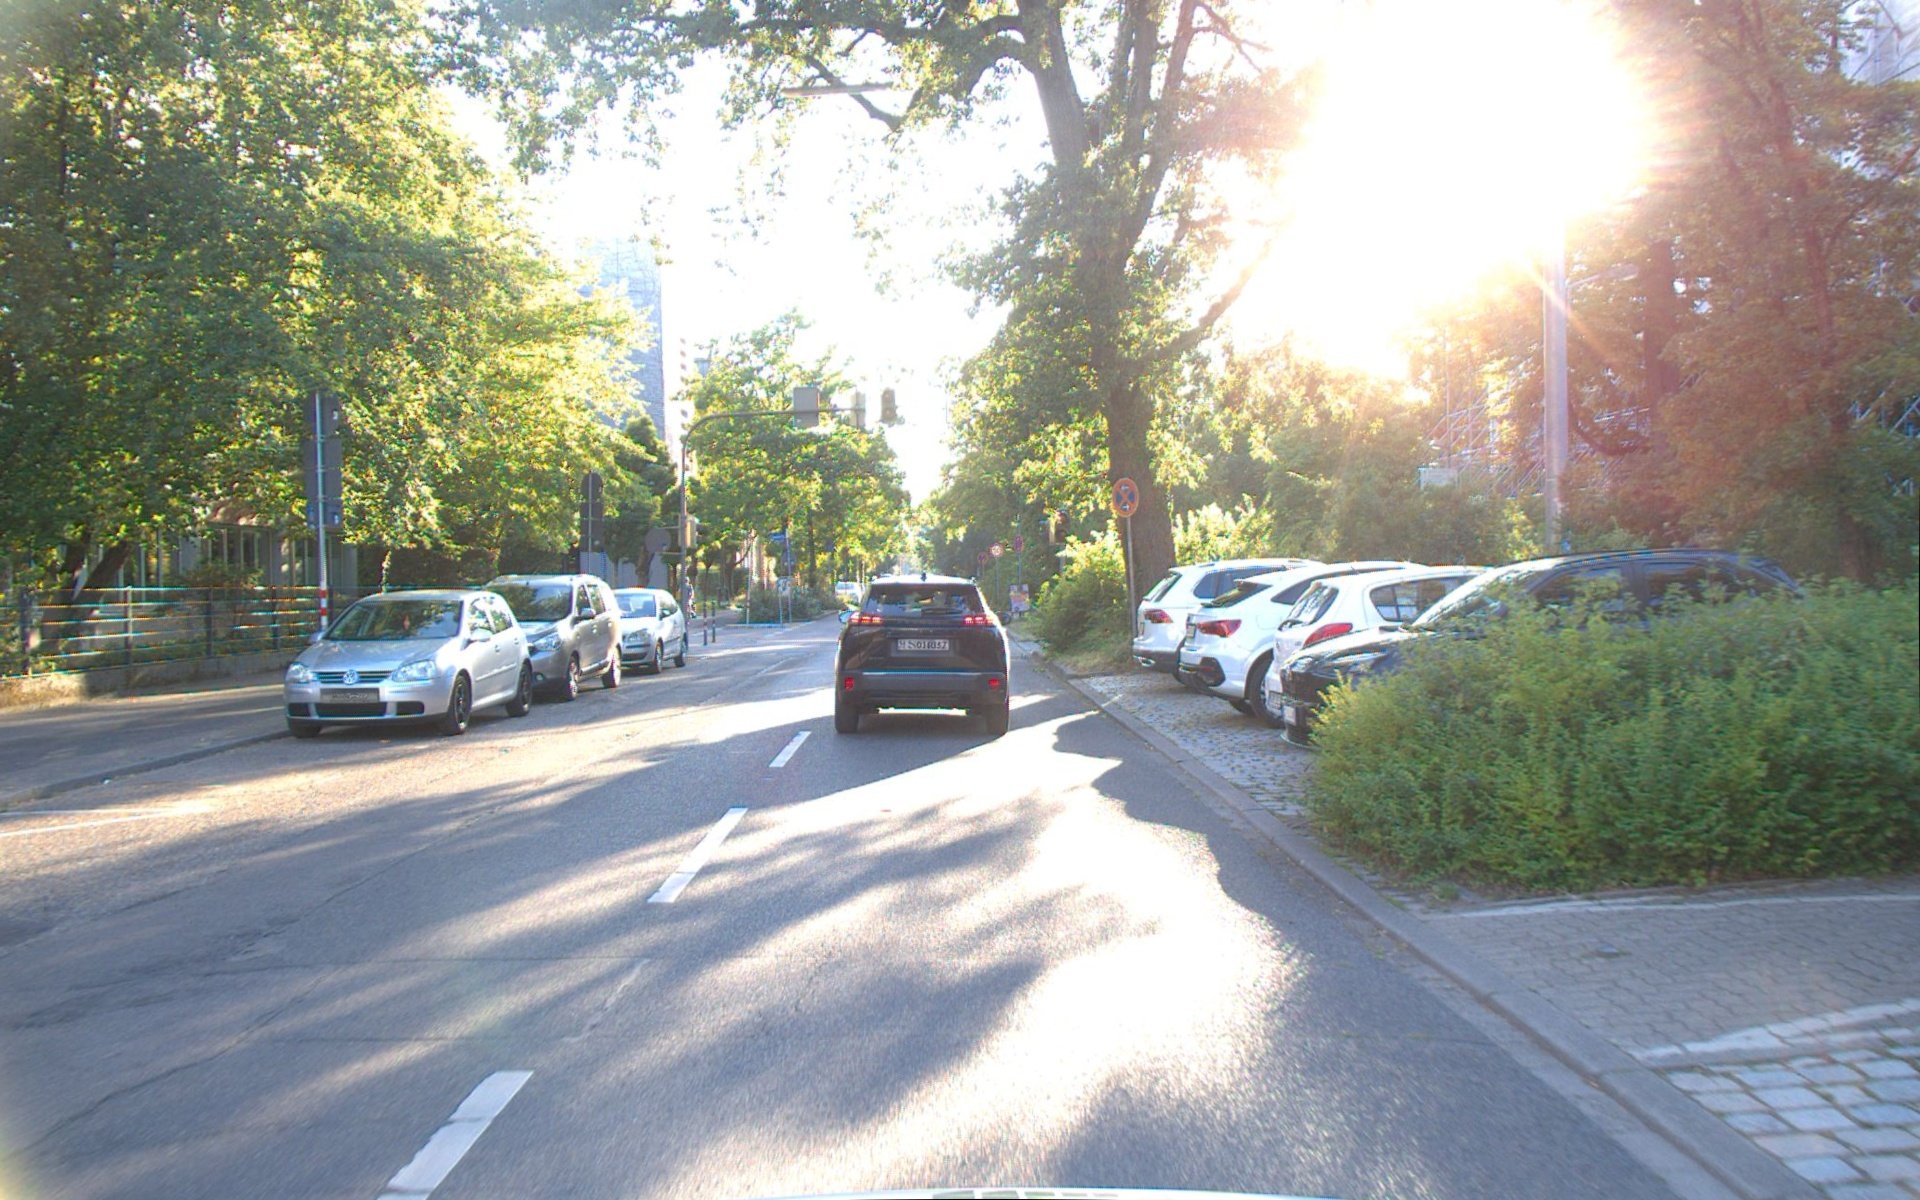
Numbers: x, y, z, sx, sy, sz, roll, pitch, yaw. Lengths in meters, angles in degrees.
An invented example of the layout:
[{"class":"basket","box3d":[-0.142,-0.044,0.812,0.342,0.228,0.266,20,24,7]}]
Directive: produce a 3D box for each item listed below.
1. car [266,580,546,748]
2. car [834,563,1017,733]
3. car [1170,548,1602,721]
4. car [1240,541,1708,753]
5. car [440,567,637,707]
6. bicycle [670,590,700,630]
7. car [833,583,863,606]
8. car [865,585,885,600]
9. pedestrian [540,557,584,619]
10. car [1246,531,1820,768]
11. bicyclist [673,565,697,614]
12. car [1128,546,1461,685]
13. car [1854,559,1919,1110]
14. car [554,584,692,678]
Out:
[{"class":"car","box3d":[-5.854,0.593,17.997,1.637,1.519,4.061,-2,1,0]},{"class":"car","box3d":[-0.365,0.420,17.360,1.732,1.595,3.380,0,1,-1]},{"class":"car","box3d":[4.307,0.333,17.136,4.038,1.696,1.722,0,0,-1]},{"class":"car","box3d":[4.450,0.393,14.696,3.516,1.593,1.818,-3,0,-2]},{"class":"car","box3d":[-5.859,0.430,23.511,1.645,1.738,4.340,-2,1,0]},{"class":"bicycle","box3d":[-9.106,0.316,54.849,0.672,1.271,2.192,0,1,-1]},{"class":"car","box3d":[-7.251,-0.385,106.750,1.775,1.377,3.995,-1,1,-6]},{"class":"car","box3d":[-8.074,-0.693,156.881,1.775,1.377,3.996,-1,1,-5]},{"class":"pedestrian","box3d":[-12.070,-0.362,50.167,0.806,1.855,0.953,-1,1,36]},{"class":"car","box3d":[4.126,0.332,12.274,3.670,1.622,1.696,0,0,-3]},{"class":"bicyclist","box3d":[-9.113,-0.349,54.841,0.661,1.631,0.706,0,0,0]},{"class":"car","box3d":[4.316,0.188,21.865,4.083,1.740,1.868,0,1,3]},{"class":"car","box3d":[4.708,0.534,3.869,4.249,1.500,1.742,-4,2,0]},{"class":"car","box3d":[-5.996,0.506,29.825,1.645,1.482,3.882,-2,1,0]}]
